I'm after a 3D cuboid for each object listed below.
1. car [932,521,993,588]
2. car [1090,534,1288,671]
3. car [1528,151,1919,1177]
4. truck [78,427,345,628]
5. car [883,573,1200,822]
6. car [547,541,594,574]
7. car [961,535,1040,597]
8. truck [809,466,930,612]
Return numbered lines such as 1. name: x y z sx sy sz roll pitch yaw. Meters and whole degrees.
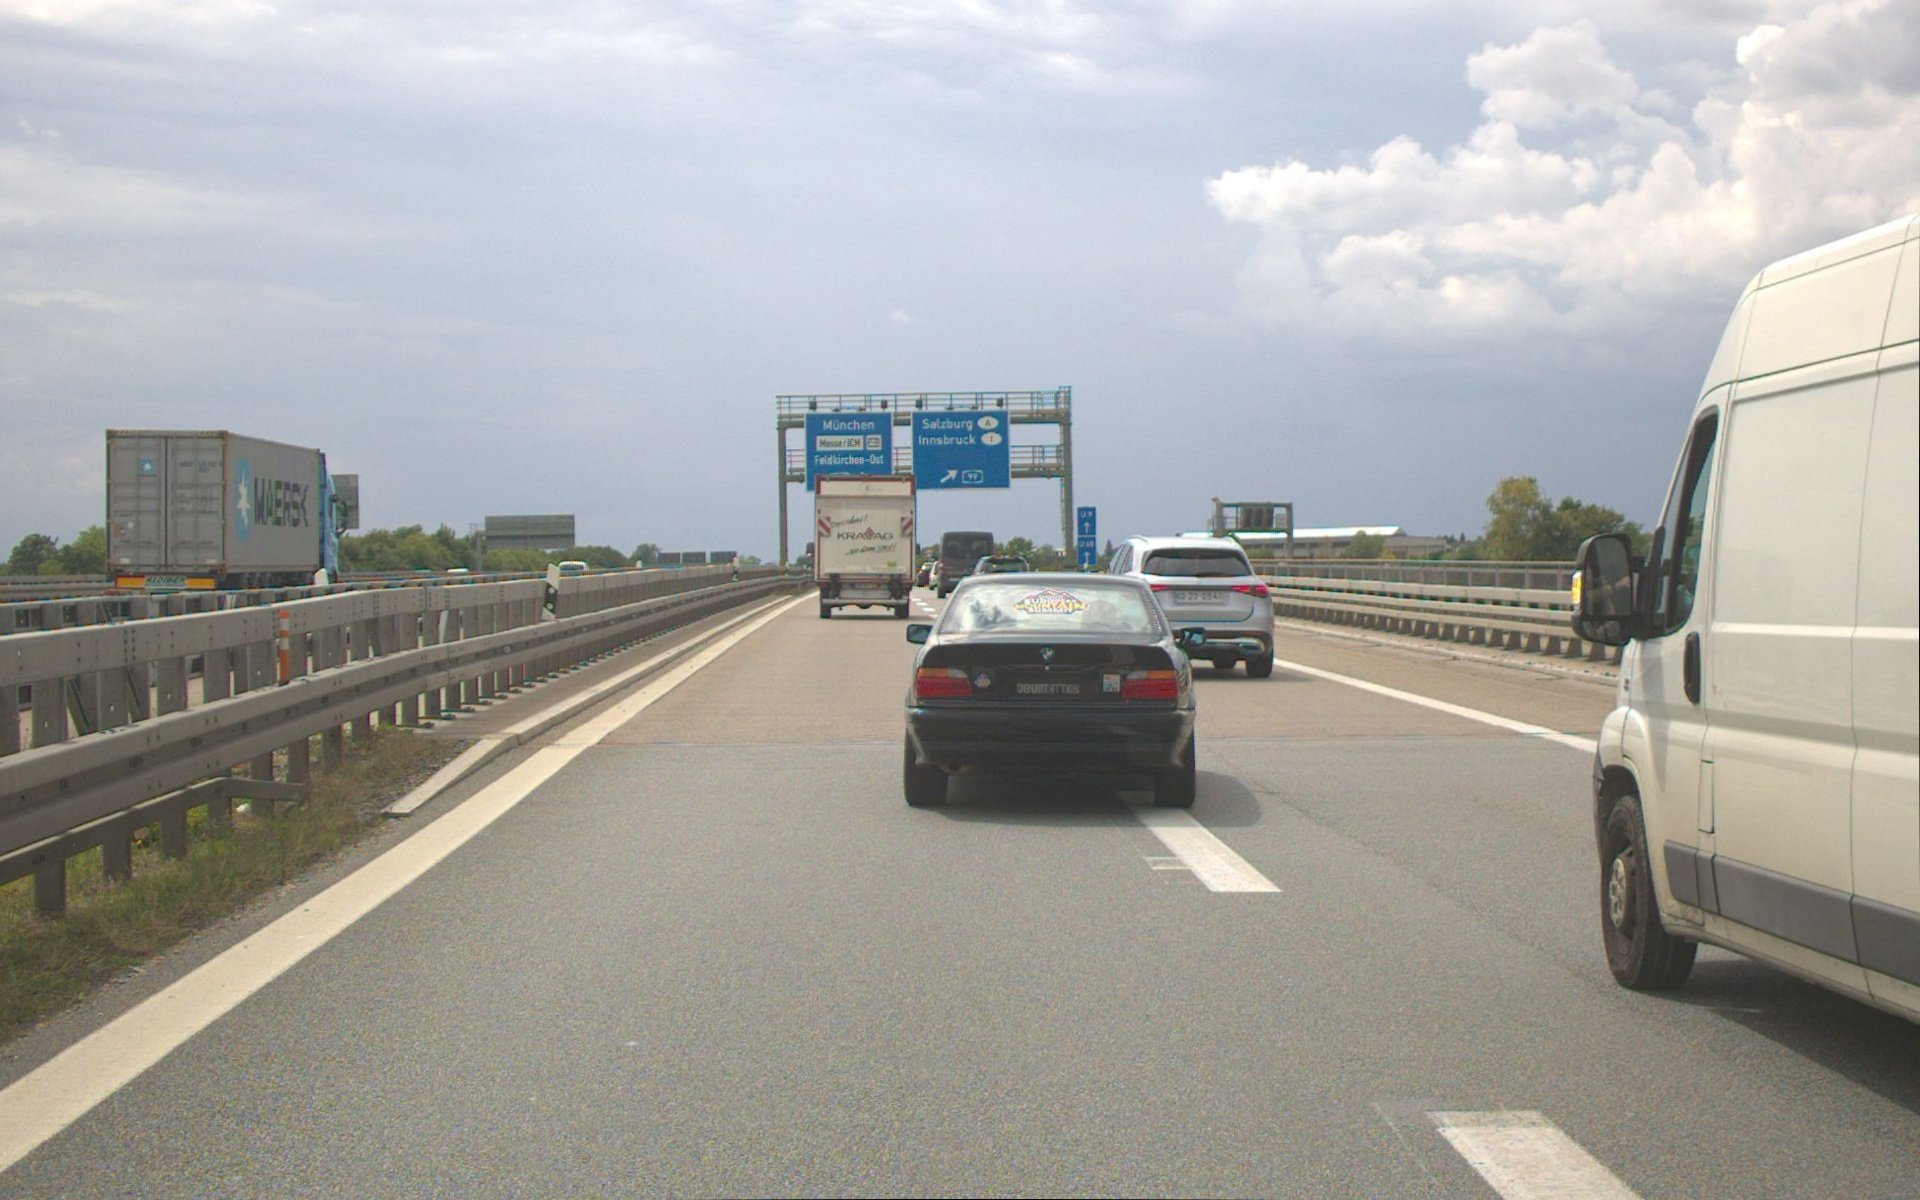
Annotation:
1. car: 0.064 -1.607 119.266 1.906 2.254 4.649 1 1 -2
2. car: 2.628 -0.011 40.302 1.819 1.509 4.001 1 1 -3
3. car: 3.293 0.130 9.639 2.114 2.445 6.152 1 1 -2
4. truck: -16.517 -1.618 77.327 3.183 4.005 16.077 1 1 -3
5. car: 0.575 0.508 20.814 1.704 1.277 4.365 1 1 4
6. car: -18.763 -2.049 165.714 1.828 1.557 4.000 0 1 0
7. car: 1.030 -0.904 89.304 1.884 1.546 4.000 1 1 -2
8. truck: -2.065 -1.303 78.155 2.569 3.115 8.635 1 0 -2
